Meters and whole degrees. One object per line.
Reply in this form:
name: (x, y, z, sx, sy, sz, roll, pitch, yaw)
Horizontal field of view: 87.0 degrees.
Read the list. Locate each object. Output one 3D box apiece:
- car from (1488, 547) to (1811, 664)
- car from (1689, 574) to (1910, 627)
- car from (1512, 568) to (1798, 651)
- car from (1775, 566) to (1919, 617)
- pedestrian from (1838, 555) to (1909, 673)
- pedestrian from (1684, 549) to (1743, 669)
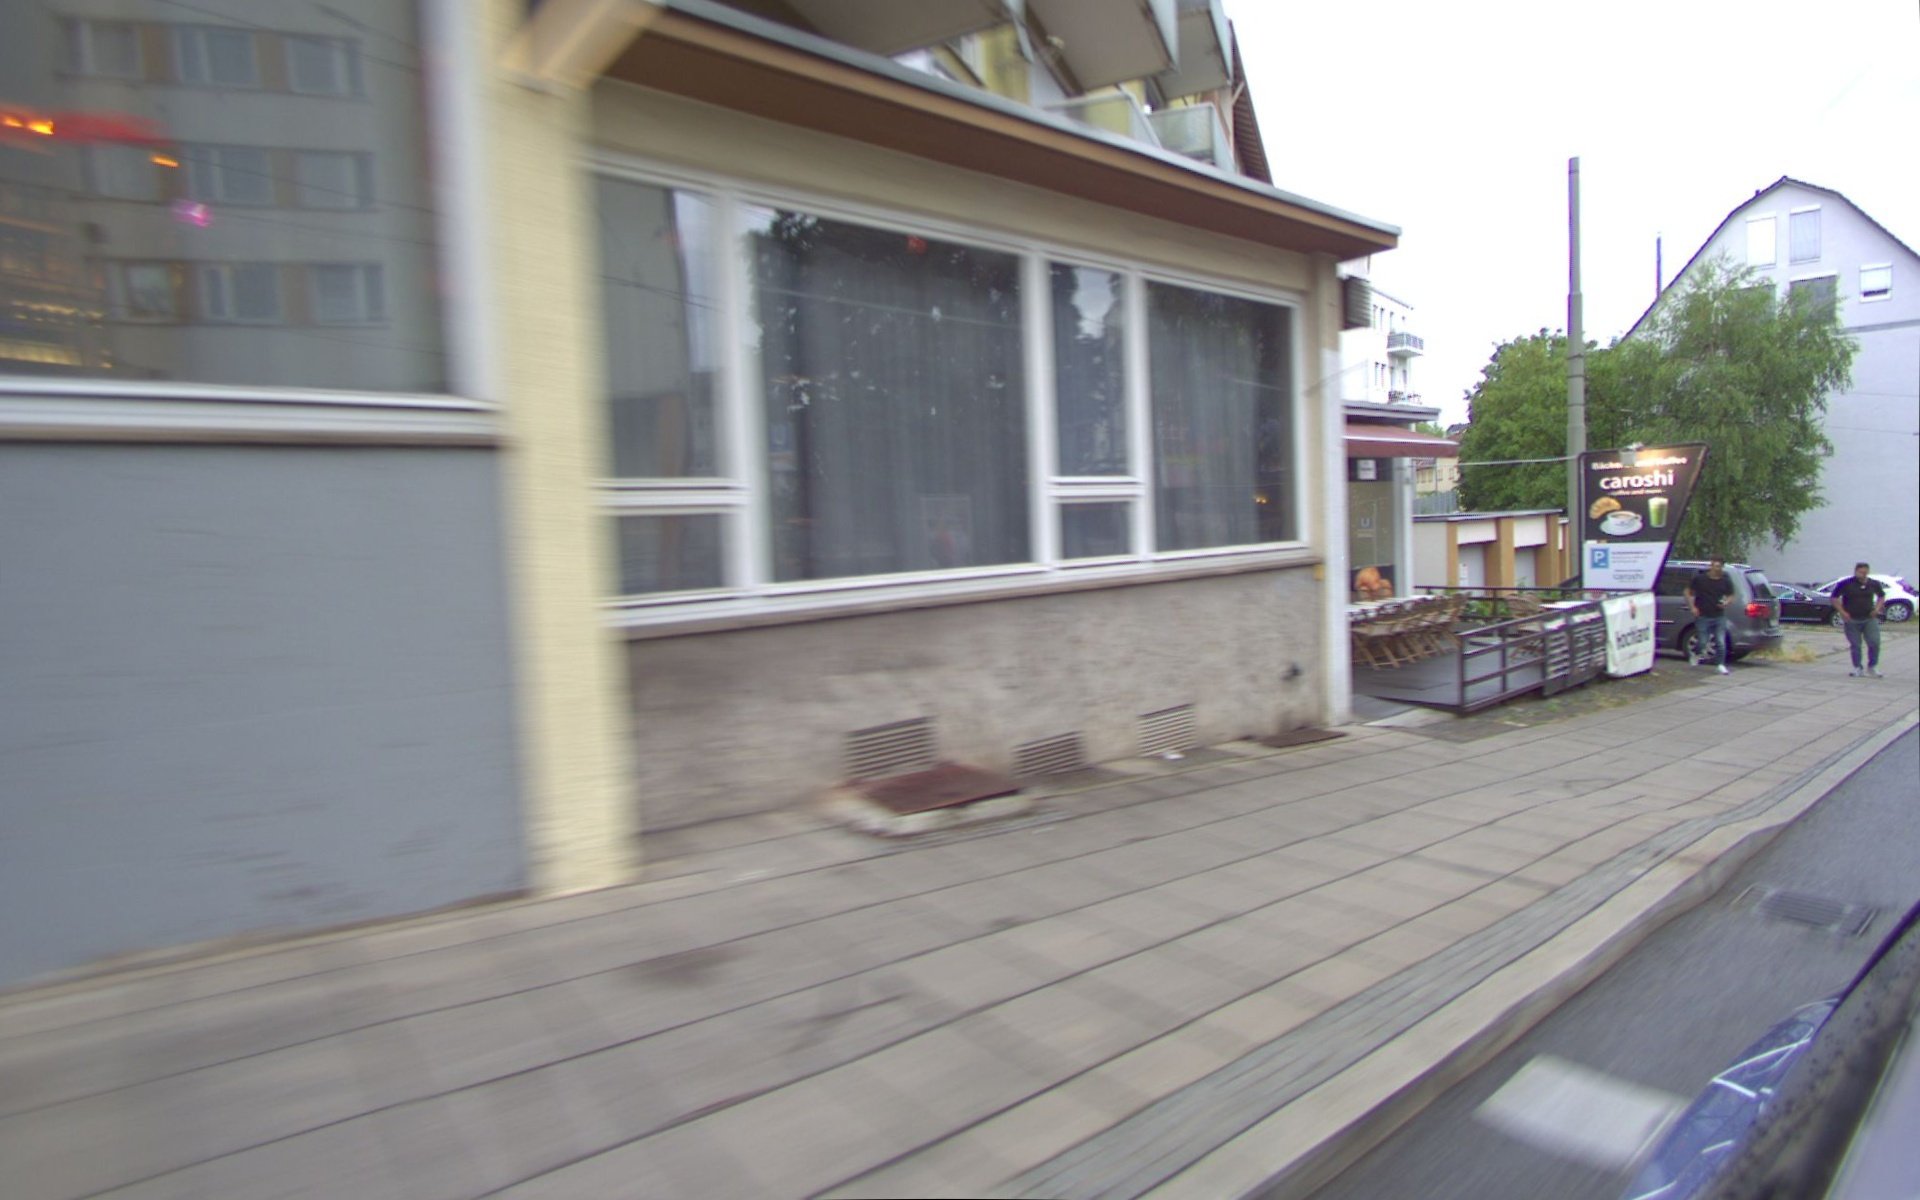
car: (12.018, 0.000, 17.912, 1.748, 1.694, 4.342, 0, 4, -38)
car: (25.774, 0.024, 31.242, 1.939, 1.454, 4.941, -3, 1, -39)
car: (14.245, 0.105, 20.990, 1.734, 1.455, 4.579, -2, 3, -40)
car: (30.520, -0.319, 34.610, 1.790, 1.483, 3.989, -10, 8, -44)
pedestrian: (13.881, 0.194, 15.382, 0.719, 1.735, 0.599, 3, 3, 44)
pedestrian: (11.237, 0.133, 15.089, 0.604, 1.735, 0.579, -1, -1, -44)
